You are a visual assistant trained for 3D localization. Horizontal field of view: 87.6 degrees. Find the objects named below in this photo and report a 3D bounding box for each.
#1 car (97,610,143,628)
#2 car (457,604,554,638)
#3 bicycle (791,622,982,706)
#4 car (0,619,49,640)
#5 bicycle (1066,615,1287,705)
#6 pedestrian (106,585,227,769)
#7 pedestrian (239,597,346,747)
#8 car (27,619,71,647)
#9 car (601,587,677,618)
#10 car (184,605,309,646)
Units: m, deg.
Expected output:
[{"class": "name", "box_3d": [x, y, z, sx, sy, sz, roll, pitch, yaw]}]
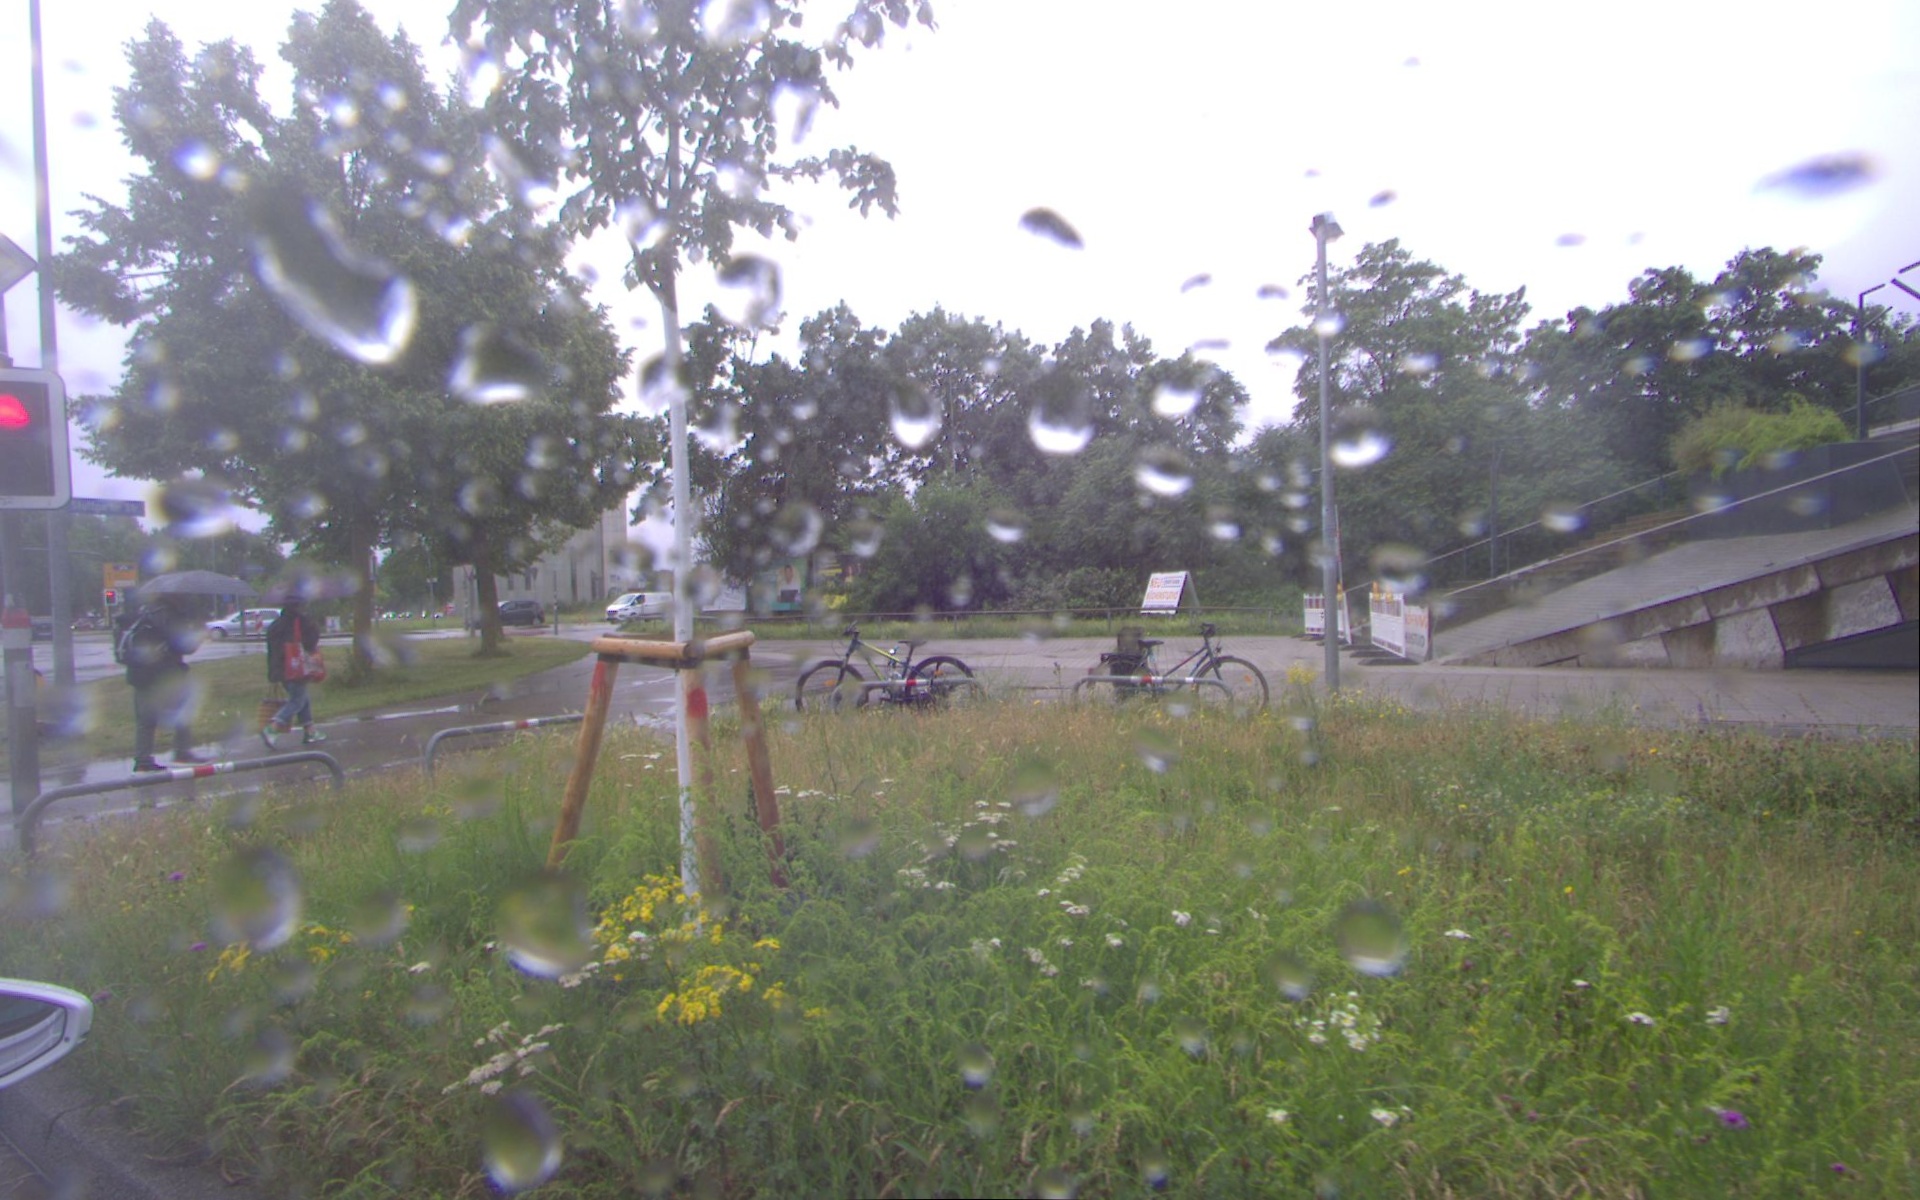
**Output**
[{"class": "car", "box_3d": [-81.933, 1.820, 97.701, 1.770, 1.684, 4.401, -1, 0, -16]}, {"class": "car", "box_3d": [-26.131, 1.241, 57.739, 1.977, 1.874, 4.741, -2, -3, 40]}, {"class": "bicycle", "box_3d": [-0.704, 0.620, 9.780, 1.823, 0.797, 0.380, 0, -2, -2]}, {"class": "car", "box_3d": [-77.443, 2.481, 82.490, 1.770, 1.683, 4.404, 0, -2, -16]}, {"class": "bicycle", "box_3d": [2.014, 0.558, 9.389, 1.972, 0.797, 0.454, -1, -2, 16]}, {"class": "pedestrian", "box_3d": [-7.013, 0.658, 8.854, 0.730, 1.542, 0.620, 0, -1, 31]}, {"class": "pedestrian", "box_3d": [-6.894, 0.721, 10.359, 0.564, 1.480, 0.679, -1, 1, 28]}, {"class": "car", "box_3d": [-49.980, 1.776, 54.924, 3.947, 1.473, 1.608, -1, 0, 45]}, {"class": "car", "box_3d": [-21.287, 0.230, 66.652, 1.970, 1.874, 4.756, -1, -2, 30]}, {"class": "car", "box_3d": [-34.016, 1.233, 47.803, 4.723, 1.874, 1.984, 2, -3, -40]}]
